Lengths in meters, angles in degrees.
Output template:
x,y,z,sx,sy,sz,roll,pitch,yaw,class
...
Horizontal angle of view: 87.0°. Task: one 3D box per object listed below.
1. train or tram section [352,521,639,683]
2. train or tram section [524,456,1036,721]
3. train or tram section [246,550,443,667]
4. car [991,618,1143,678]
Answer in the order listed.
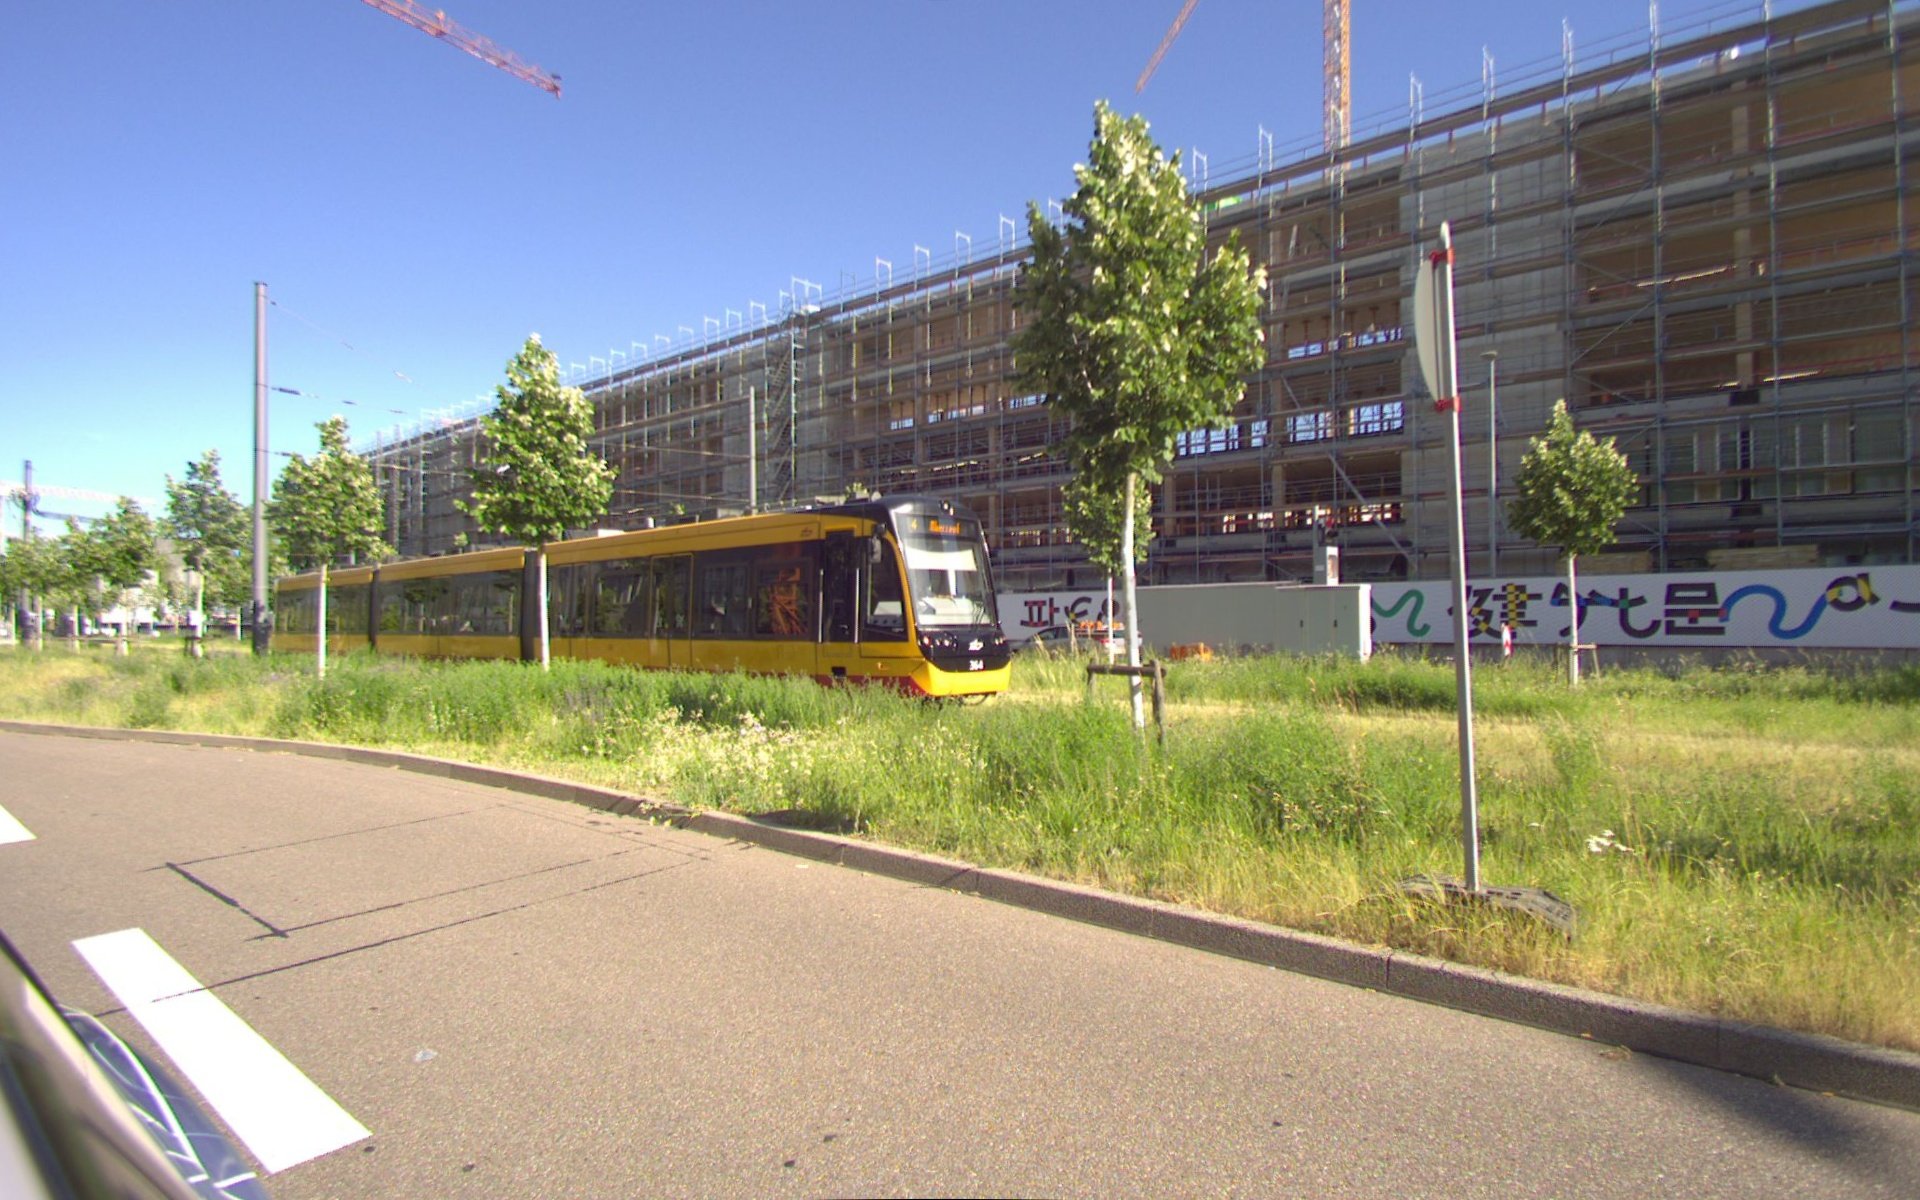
x,y,z,sx,sy,sz,roll,pitch,yaw,class
-13.487,0.186,28.358,12.791,3.666,2.784,-2,-2,44,train or tram section
-4.331,-0.013,19.463,12.793,3.666,2.784,-2,-2,44,train or tram section
-22.863,0.414,37.087,12.788,3.666,2.785,-2,-2,43,train or tram section
3.405,1.493,32.525,4.521,1.806,1.974,-2,-2,39,car
